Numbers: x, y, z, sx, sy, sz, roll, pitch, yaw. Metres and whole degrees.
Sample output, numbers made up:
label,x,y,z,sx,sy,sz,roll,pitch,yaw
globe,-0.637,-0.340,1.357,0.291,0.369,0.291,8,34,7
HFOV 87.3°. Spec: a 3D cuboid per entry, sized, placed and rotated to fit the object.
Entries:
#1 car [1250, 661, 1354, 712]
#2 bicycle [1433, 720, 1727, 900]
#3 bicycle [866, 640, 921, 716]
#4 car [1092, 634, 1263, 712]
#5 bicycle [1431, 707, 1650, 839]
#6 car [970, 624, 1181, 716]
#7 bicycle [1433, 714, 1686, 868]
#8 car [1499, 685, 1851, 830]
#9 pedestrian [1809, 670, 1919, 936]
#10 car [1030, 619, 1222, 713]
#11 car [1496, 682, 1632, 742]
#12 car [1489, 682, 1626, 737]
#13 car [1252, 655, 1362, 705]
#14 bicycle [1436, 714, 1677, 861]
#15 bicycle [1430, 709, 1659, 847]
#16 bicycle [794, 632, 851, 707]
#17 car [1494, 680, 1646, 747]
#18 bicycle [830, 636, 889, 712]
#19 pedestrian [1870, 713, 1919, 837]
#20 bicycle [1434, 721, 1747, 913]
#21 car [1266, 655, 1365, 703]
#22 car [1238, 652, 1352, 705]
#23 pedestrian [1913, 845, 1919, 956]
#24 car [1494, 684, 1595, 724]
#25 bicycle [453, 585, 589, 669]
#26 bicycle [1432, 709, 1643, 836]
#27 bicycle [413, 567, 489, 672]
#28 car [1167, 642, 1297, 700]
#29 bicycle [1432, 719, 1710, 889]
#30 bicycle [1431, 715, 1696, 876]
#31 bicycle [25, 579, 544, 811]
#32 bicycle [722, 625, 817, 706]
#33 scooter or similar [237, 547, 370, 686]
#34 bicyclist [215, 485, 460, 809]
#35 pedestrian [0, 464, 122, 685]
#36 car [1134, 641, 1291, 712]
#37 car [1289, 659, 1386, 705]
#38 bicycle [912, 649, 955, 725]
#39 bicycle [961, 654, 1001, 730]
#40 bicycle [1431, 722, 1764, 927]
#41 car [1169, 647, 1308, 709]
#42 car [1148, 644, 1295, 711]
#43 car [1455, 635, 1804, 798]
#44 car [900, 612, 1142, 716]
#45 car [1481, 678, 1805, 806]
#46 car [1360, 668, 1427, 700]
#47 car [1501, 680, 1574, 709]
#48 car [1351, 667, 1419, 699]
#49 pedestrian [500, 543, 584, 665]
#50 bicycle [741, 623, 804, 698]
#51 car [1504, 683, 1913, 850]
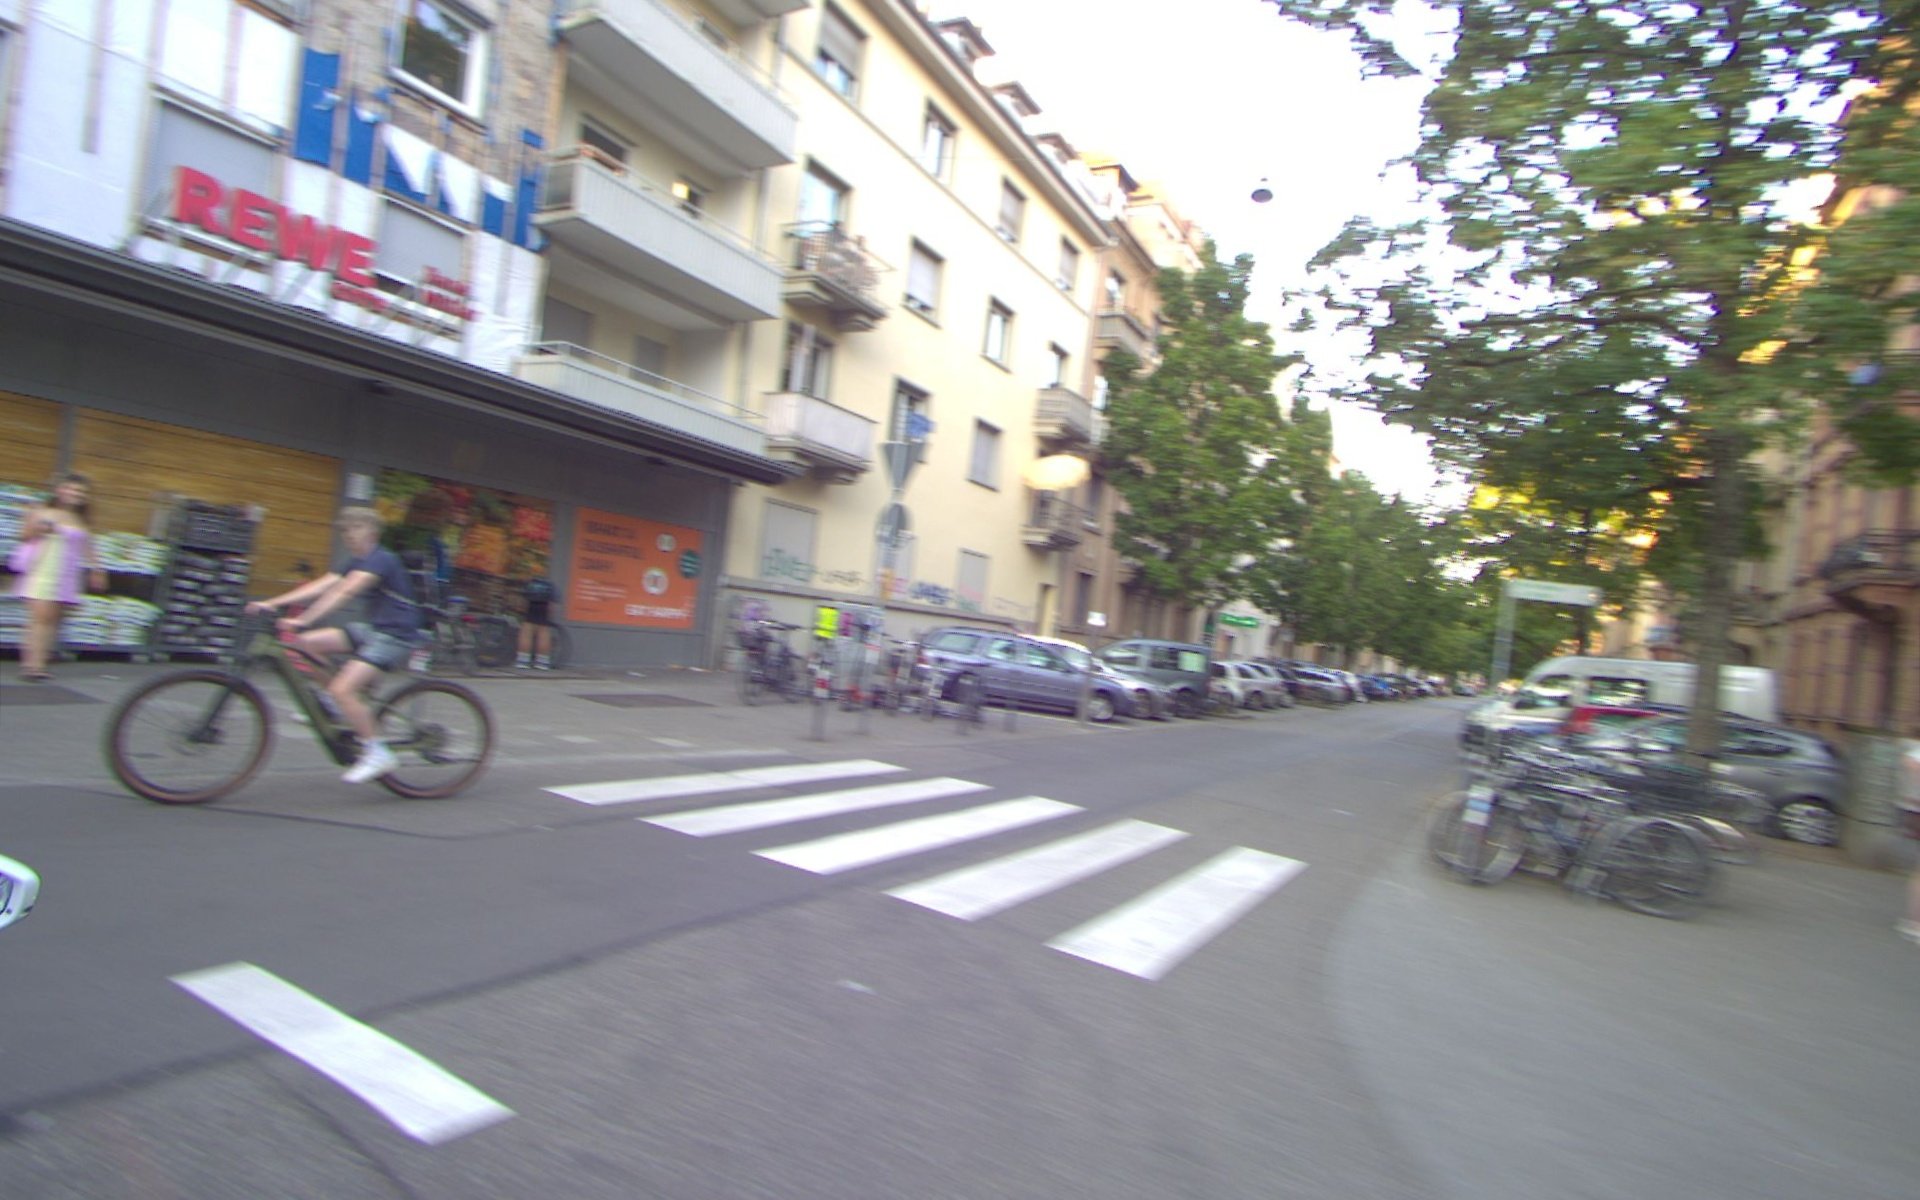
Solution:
label,x,y,z,sx,sy,sz,roll,pitch,yaw
car,16.910,4.264,49.960,4.457,1.955,2.003,6,-2,9
bicycle,5.155,1.715,8.510,1.999,1.147,0.435,5,-2,26
bicycle,-0.985,1.166,15.345,0.482,1.038,2.018,6,-3,4
car,6.474,2.156,30.207,4.466,1.805,1.999,7,-2,-8
bicycle,6.405,1.884,11.214,1.999,1.147,0.435,5,-2,26
car,2.685,1.584,23.077,4.458,1.543,2.003,6,-2,14
bicycle,5.771,1.814,9.809,1.999,1.147,0.435,5,-2,26
car,11.034,2.380,15.939,4.222,1.543,1.908,5,-3,31
pedestrian,7.185,1.497,7.506,0.852,1.849,0.837,6,-2,-1
car,4.071,1.650,25.373,4.458,1.805,2.003,6,-2,4
car,24.121,4.464,40.383,4.467,1.805,1.998,5,-3,29
car,27.013,4.956,45.723,5.111,1.805,1.998,5,-3,29
car,16.289,3.770,47.424,4.457,1.805,2.003,6,-2,9
bicycle,5.994,1.856,10.234,1.999,1.147,0.435,5,-2,26
bicycle,6.184,1.857,10.758,1.999,1.147,0.435,5,-2,26
bicycle,-2.065,1.047,15.343,0.370,1.038,2.018,6,-3,4
car,21.938,4.071,36.387,4.467,1.805,1.998,5,-3,29
bicycle,-1.499,1.109,15.342,0.482,1.038,2.018,6,-3,4
pedestrian,13.732,2.525,14.477,0.735,1.696,0.765,5,-2,34
bicycle,4.948,1.677,8.050,1.999,1.147,0.435,5,-2,26
car,18.600,4.122,52.769,4.457,1.955,2.003,6,-2,9
car,14.975,3.515,45.231,4.457,1.805,2.003,6,-2,9
pedestrian,6.892,1.502,6.562,0.857,1.743,0.833,4,-2,42
car,35.368,6.298,61.067,5.111,1.805,1.998,5,-3,29
bicycle,-6.262,0.415,14.460,0.371,1.038,1.881,5,-3,28
bicycle,6.615,1.952,11.638,1.999,1.147,0.435,5,-2,26
bicycle,-6.445,0.217,12.695,0.346,1.217,1.790,7,-2,-40
car,10.849,2.814,40.282,4.464,1.805,2.000,7,-2,-6
bicycle,5.355,1.759,8.956,1.999,1.147,0.435,5,-2,26
bicycle,5.550,1.769,9.382,1.999,1.147,0.435,5,-2,26
bicycle,-3.746,0.581,5.812,2.266,1.085,0.783,8,-1,-37
bicycle,-2.636,0.931,14.078,0.371,1.038,1.663,5,-3,22
scooter or similar,-6.851,0.168,10.492,1.265,1.281,0.322,7,-1,20
bicyclist,-3.637,0.283,5.878,0.989,1.709,0.783,7,0,-37
pedestrian,-7.705,-0.201,8.546,0.713,1.746,0.663,4,-2,43
car,8.262,2.484,33.117,4.466,1.805,1.999,7,-2,-8
car,20.488,4.431,54.789,4.457,1.955,2.003,6,-2,9
bicycle,-0.389,1.305,15.529,0.482,1.038,2.017,6,-3,1
bicycle,0.315,1.381,15.515,0.482,1.038,2.017,6,-3,1
bicycle,4.710,1.628,7.592,1.999,1.147,0.435,5,-2,26
car,10.406,2.911,37.769,4.464,1.805,2.000,7,-2,-6
car,9.169,2.718,35.512,4.464,1.805,2.000,7,-2,-6
car,13.120,2.230,20.281,5.446,2.448,2.245,5,-2,27
car,1.156,1.280,20.350,4.466,1.543,1.999,7,-2,-8
car,11.938,2.440,17.971,4.469,1.543,1.998,5,-3,31
car,34.123,6.630,79.288,4.459,1.955,2.002,5,-2,17
car,48.261,7.936,84.164,5.111,1.805,1.998,5,-3,29
car,32.435,6.326,76.922,4.459,1.955,2.002,5,-2,17
pedestrian,-5.879,0.057,14.158,0.706,1.619,0.665,5,-2,35
bicycle,-2.840,0.922,15.387,0.370,1.038,2.018,6,-3,4
car,10.071,2.177,14.002,4.222,1.543,1.908,5,-3,31
